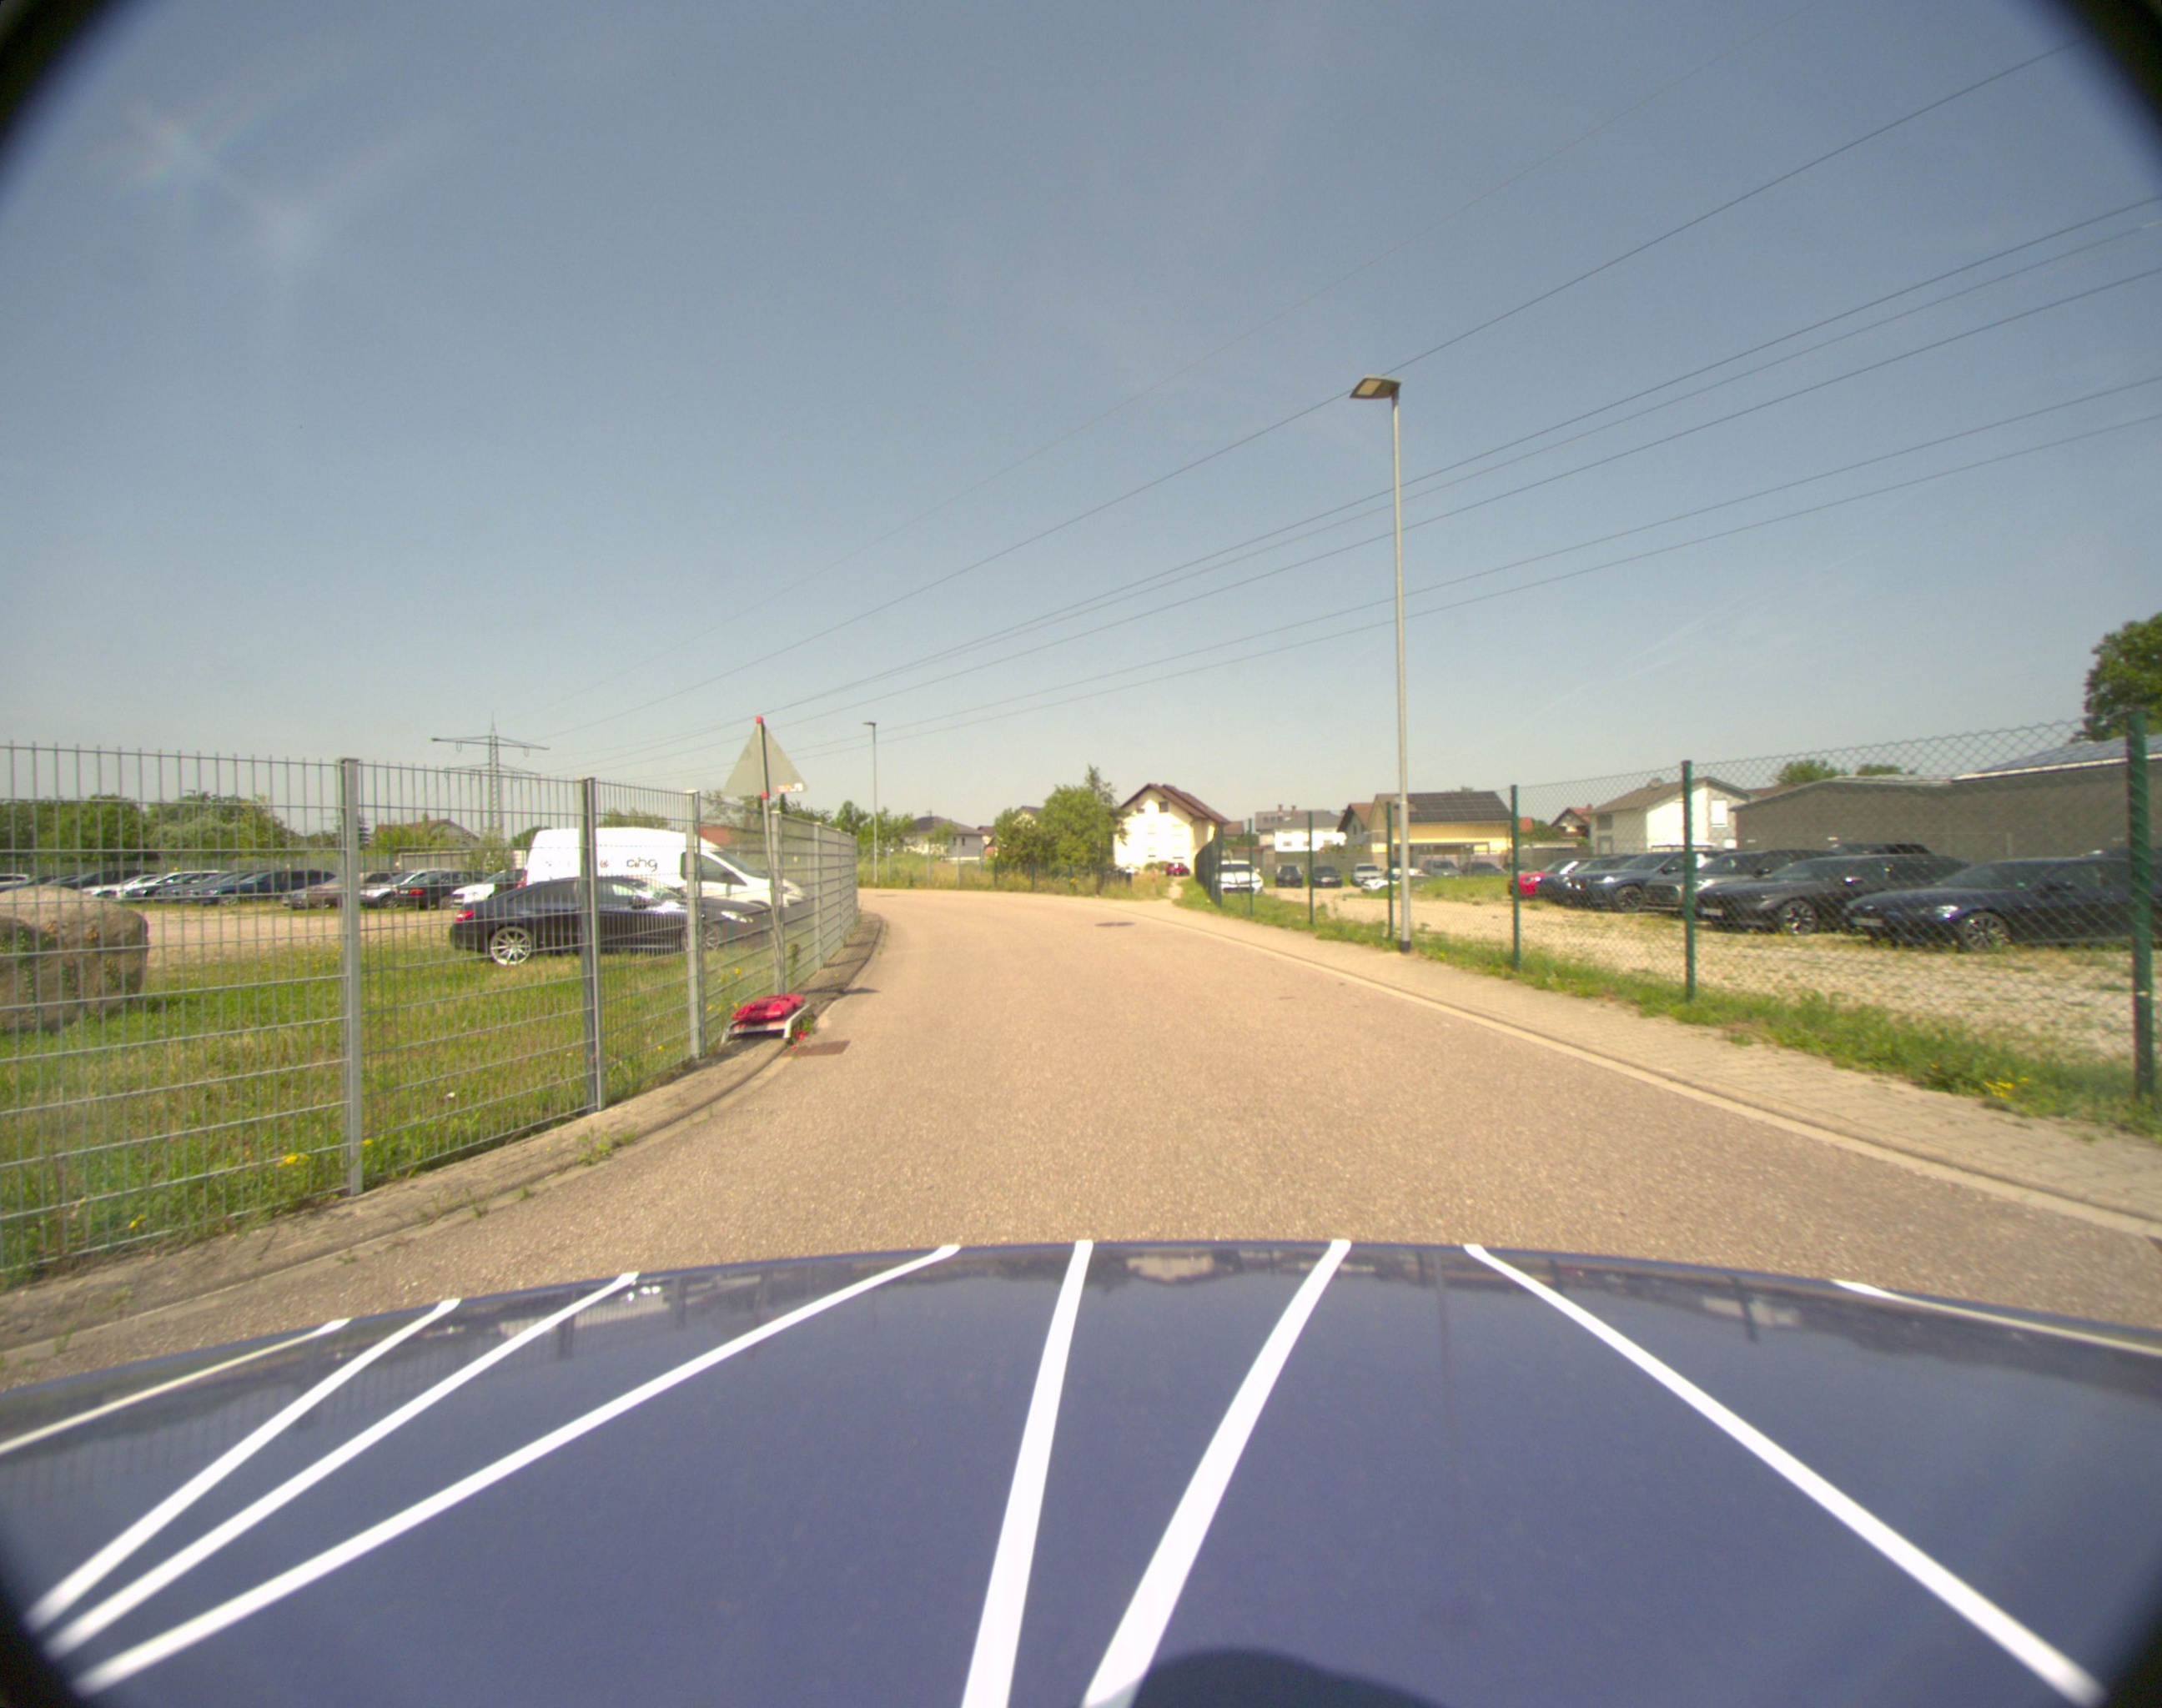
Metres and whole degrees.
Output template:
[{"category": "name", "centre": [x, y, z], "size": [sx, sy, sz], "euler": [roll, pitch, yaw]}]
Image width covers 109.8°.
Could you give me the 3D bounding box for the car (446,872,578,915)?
[{"category": "car", "centre": [-21.096, 1.424, 28.320], "size": [1.632, 1.381, 3.541], "euler": [0, 0, 24]}]

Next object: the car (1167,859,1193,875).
[{"category": "car", "centre": [11.401, 1.513, 87.553], "size": [1.862, 1.718, 4.142], "euler": [0, 0, 24]}]

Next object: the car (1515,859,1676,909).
[{"category": "car", "centre": [15.670, 0.895, 23.306], "size": [3.644, 1.425, 1.869], "euler": [0, 0, 7]}]

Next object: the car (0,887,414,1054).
[{"category": "car", "centre": [-9.258, 1.026, 7.214], "size": [3.931, 1.270, 1.904], "euler": [-1, 0, -15]}]

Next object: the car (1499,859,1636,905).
[{"category": "car", "centre": [16.318, 0.922, 25.637], "size": [3.436, 1.445, 1.869], "euler": [0, 0, 7]}]

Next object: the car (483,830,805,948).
[{"category": "car", "centre": [-8.574, 0.618, 15.508], "size": [5.346, 2.136, 1.904], "euler": [-1, 0, -15]}]

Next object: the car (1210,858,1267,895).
[{"category": "car", "centre": [6.066, 0.816, 29.678], "size": [1.866, 1.299, 4.565], "euler": [0, 0, 8]}]

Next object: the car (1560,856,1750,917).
[{"category": "car", "centre": [15.423, 0.843, 20.601], "size": [3.692, 1.552, 1.869], "euler": [0, 0, 7]}]

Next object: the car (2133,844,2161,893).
[{"category": "car", "centre": [33.273, 0.404, 21.267], "size": [4.598, 1.425, 1.869], "euler": [0, 0, 7]}]

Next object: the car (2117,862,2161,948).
[{"category": "car", "centre": [20.454, 0.844, 12.156], "size": [4.414, 1.427, 2.003], "euler": [-1, 0, 11]}]

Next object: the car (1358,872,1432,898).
[{"category": "car", "centre": [16.863, 1.653, 40.908], "size": [3.386, 1.307, 1.660], "euler": [0, 0, 8]}]

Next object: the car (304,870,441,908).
[{"category": "car", "centre": [-28.823, 1.388, 31.034], "size": [1.736, 1.346, 3.681], "euler": [0, 1, 25]}]

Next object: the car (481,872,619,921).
[{"category": "car", "centre": [-18.849, 1.455, 27.134], "size": [1.747, 1.469, 3.667], "euler": [1, 1, 23]}]

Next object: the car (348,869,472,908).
[{"category": "car", "centre": [-26.398, 1.327, 30.000], "size": [1.524, 1.346, 3.283], "euler": [0, 1, 22]}]

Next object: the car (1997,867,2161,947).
[{"category": "car", "centre": [20.991, 0.973, 14.611], "size": [3.994, 1.412, 2.001], "euler": [-1, 0, 9]}]

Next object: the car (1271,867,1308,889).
[{"category": "car", "centre": [14.275, 1.595, 52.255], "size": [1.866, 1.363, 4.565], "euler": [0, 0, 8]}]

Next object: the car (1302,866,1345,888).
[{"category": "car", "centre": [16.540, 1.556, 51.999], "size": [2.039, 1.335, 4.420], "euler": [0, 0, 8]}]

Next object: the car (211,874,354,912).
[{"category": "car", "centre": [-36.822, 1.766, 35.204], "size": [1.634, 1.330, 4.182], "euler": [0, 3, 23]}]

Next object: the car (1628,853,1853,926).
[{"category": "car", "centre": [15.541, 0.800, 18.089], "size": [3.629, 1.634, 1.869], "euler": [0, 0, 7]}]

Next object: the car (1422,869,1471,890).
[{"category": "car", "centre": [24.547, 1.715, 51.205], "size": [1.791, 1.229, 4.137], "euler": [0, 0, 8]}]

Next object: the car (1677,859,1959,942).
[{"category": "car", "centre": [14.757, 0.896, 15.438], "size": [3.765, 1.545, 1.869], "euler": [0, 0, 7]}]

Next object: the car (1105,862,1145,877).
[{"category": "car", "centre": [4.993, 1.739, 86.043], "size": [4.076, 1.674, 1.868], "euler": [-1, 0, 24]}]

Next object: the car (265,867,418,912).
[{"category": "car", "centre": [-30.783, 1.422, 31.790], "size": [1.634, 1.466, 4.182], "euler": [0, 3, 23]}]

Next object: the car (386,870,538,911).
[{"category": "car", "centre": [-23.768, 1.363, 29.384], "size": [1.719, 1.346, 4.204], "euler": [0, 0, 24]}]

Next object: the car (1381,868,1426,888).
[{"category": "car", "centre": [21.952, 1.610, 51.909], "size": [1.791, 1.229, 4.137], "euler": [0, 0, 8]}]

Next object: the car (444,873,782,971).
[{"category": "car", "centre": [-7.588, 1.059, 12.806], "size": [4.436, 1.352, 1.905], "euler": [-1, 0, -11]}]

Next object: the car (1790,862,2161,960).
[{"category": "car", "centre": [15.053, 0.878, 12.514], "size": [4.659, 1.427, 2.003], "euler": [0, 0, 7]}]

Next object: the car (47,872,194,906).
[{"category": "car", "centre": [-47.914, 1.693, 38.017], "size": [1.634, 1.330, 4.182], "euler": [0, 3, 23]}]

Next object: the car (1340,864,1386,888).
[{"category": "car", "centre": [19.260, 1.473, 52.070], "size": [2.039, 1.527, 4.137], "euler": [0, 0, 8]}]
